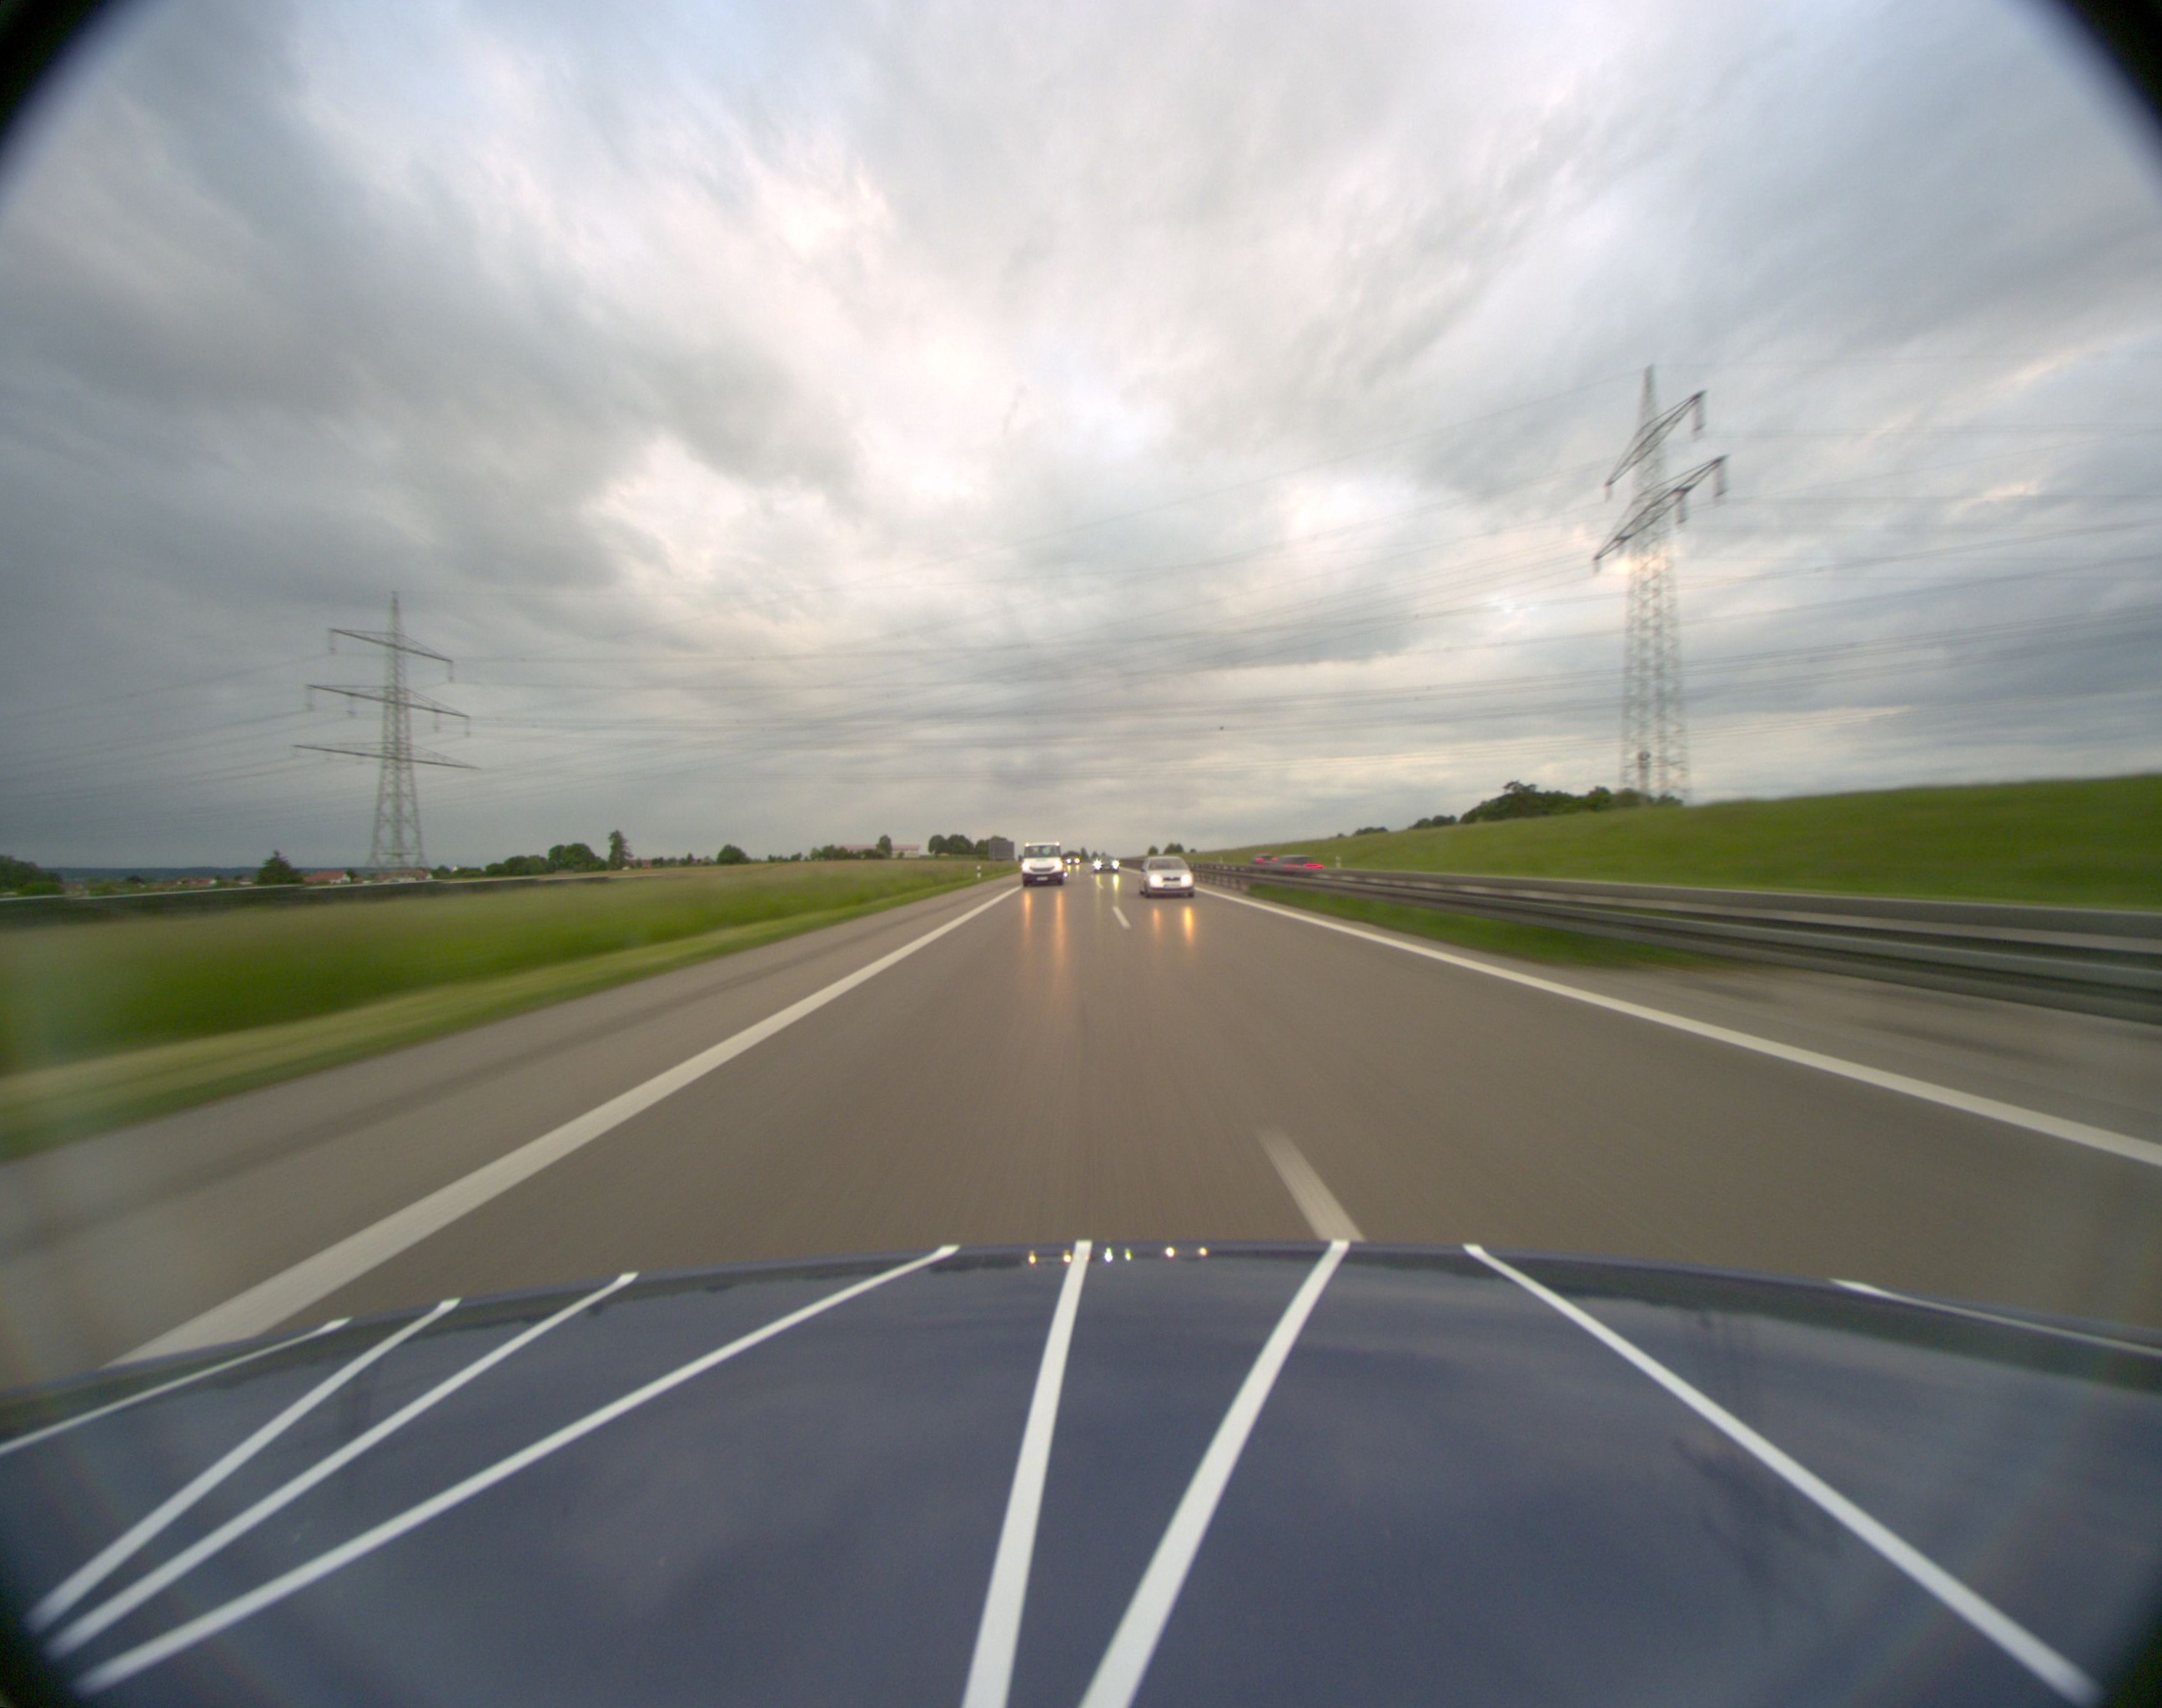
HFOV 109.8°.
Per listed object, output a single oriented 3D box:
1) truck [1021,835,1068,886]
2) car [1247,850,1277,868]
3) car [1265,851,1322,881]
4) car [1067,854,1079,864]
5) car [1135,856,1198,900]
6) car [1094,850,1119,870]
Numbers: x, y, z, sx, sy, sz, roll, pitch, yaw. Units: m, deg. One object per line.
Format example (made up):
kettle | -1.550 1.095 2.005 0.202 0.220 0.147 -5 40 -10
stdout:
truck | -1.824 0.325 40.610 2.177 2.346 7.695 -3 0 -1
car | 16.118 0.439 67.747 1.532 1.425 4.434 -3 0 0
car | 11.627 0.626 41.999 1.743 1.448 5.121 -3 0 1
car | -1.432 0.905 139.744 1.808 1.619 3.901 -1 0 -6
car | 2.918 0.778 26.807 1.592 1.381 4.600 0 1 -1
car | 2.157 0.483 64.665 1.951 1.620 4.535 -1 0 0
